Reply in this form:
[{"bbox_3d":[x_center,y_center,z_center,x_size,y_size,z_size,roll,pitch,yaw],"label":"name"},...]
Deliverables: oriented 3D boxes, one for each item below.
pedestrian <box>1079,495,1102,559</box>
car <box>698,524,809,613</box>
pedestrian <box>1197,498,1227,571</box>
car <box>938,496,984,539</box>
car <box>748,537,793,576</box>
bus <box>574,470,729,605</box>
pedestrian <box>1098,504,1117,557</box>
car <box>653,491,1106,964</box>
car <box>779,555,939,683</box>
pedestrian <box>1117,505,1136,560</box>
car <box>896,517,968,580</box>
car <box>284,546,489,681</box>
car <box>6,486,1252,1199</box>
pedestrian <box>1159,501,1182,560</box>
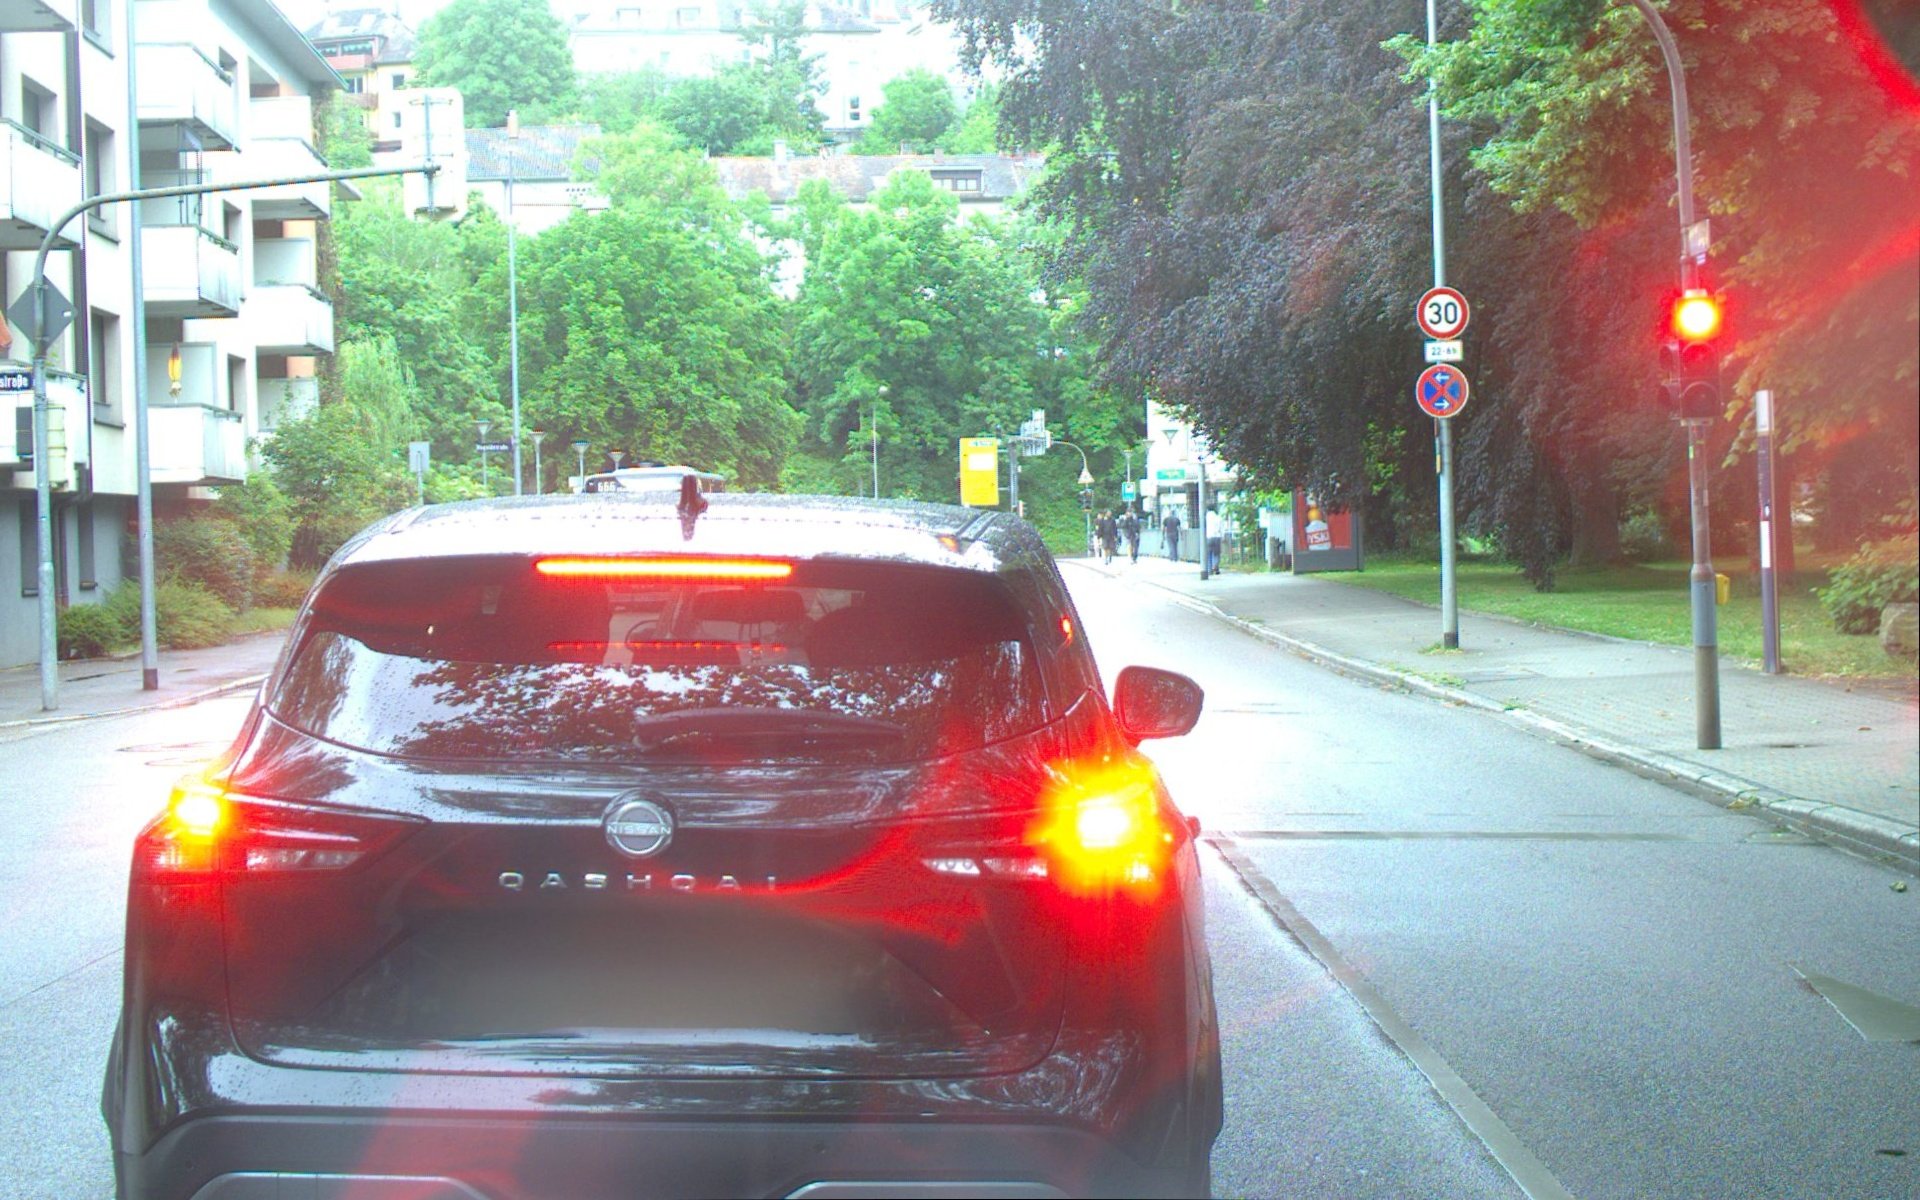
[{"bbox_3d":[4.465,-2.492,117.564,0.768,2.176,0.711,1,0,3],"label":"pedestrian"},{"bbox_3d":[-3.487,-0.556,58.417,1.624,1.410,3.455,-2,1,0],"label":"car"},{"bbox_3d":[6.297,-1.640,85.952,0.618,1.773,0.778,-2,1,-1],"label":"pedestrian"},{"bbox_3d":[0.019,-3.276,136.430,1.750,1.628,3.635,-2,1,0],"label":"car"},{"bbox_3d":[-7.731,-1.783,140.651,1.676,1.464,4.217,-3,1,-2],"label":"car"},{"bbox_3d":[-7.345,-1.513,83.349,2.766,2.964,11.782,-2,1,-1],"label":"bus"},{"bbox_3d":[4.580,-2.147,106.778,0.544,1.645,0.490,1,0,0],"label":"pedestrian"},{"bbox_3d":[-0.266,0.439,14.696,1.622,1.703,3.771,-2,1,1],"label":"car"},{"bbox_3d":[-1.207,0.191,41.094,1.808,1.412,4.031,0,1,-2],"label":"car"},{"bbox_3d":[5.101,-2.065,105.363,0.514,1.650,0.550,1,0,-1],"label":"pedestrian"},{"bbox_3d":[-0.656,-1.228,81.419,1.624,1.410,3.455,-2,1,0],"label":"car"},{"bbox_3d":[-6.767,0.123,40.940,1.808,1.412,4.031,-3,1,-2],"label":"car"},{"bbox_3d":[-0.509,0.618,7.023,1.806,1.584,4.000,1,1,-1],"label":"car"},{"bbox_3d":[6.429,-2.135,105.082,0.618,1.773,0.551,-2,1,-1],"label":"pedestrian"}]
